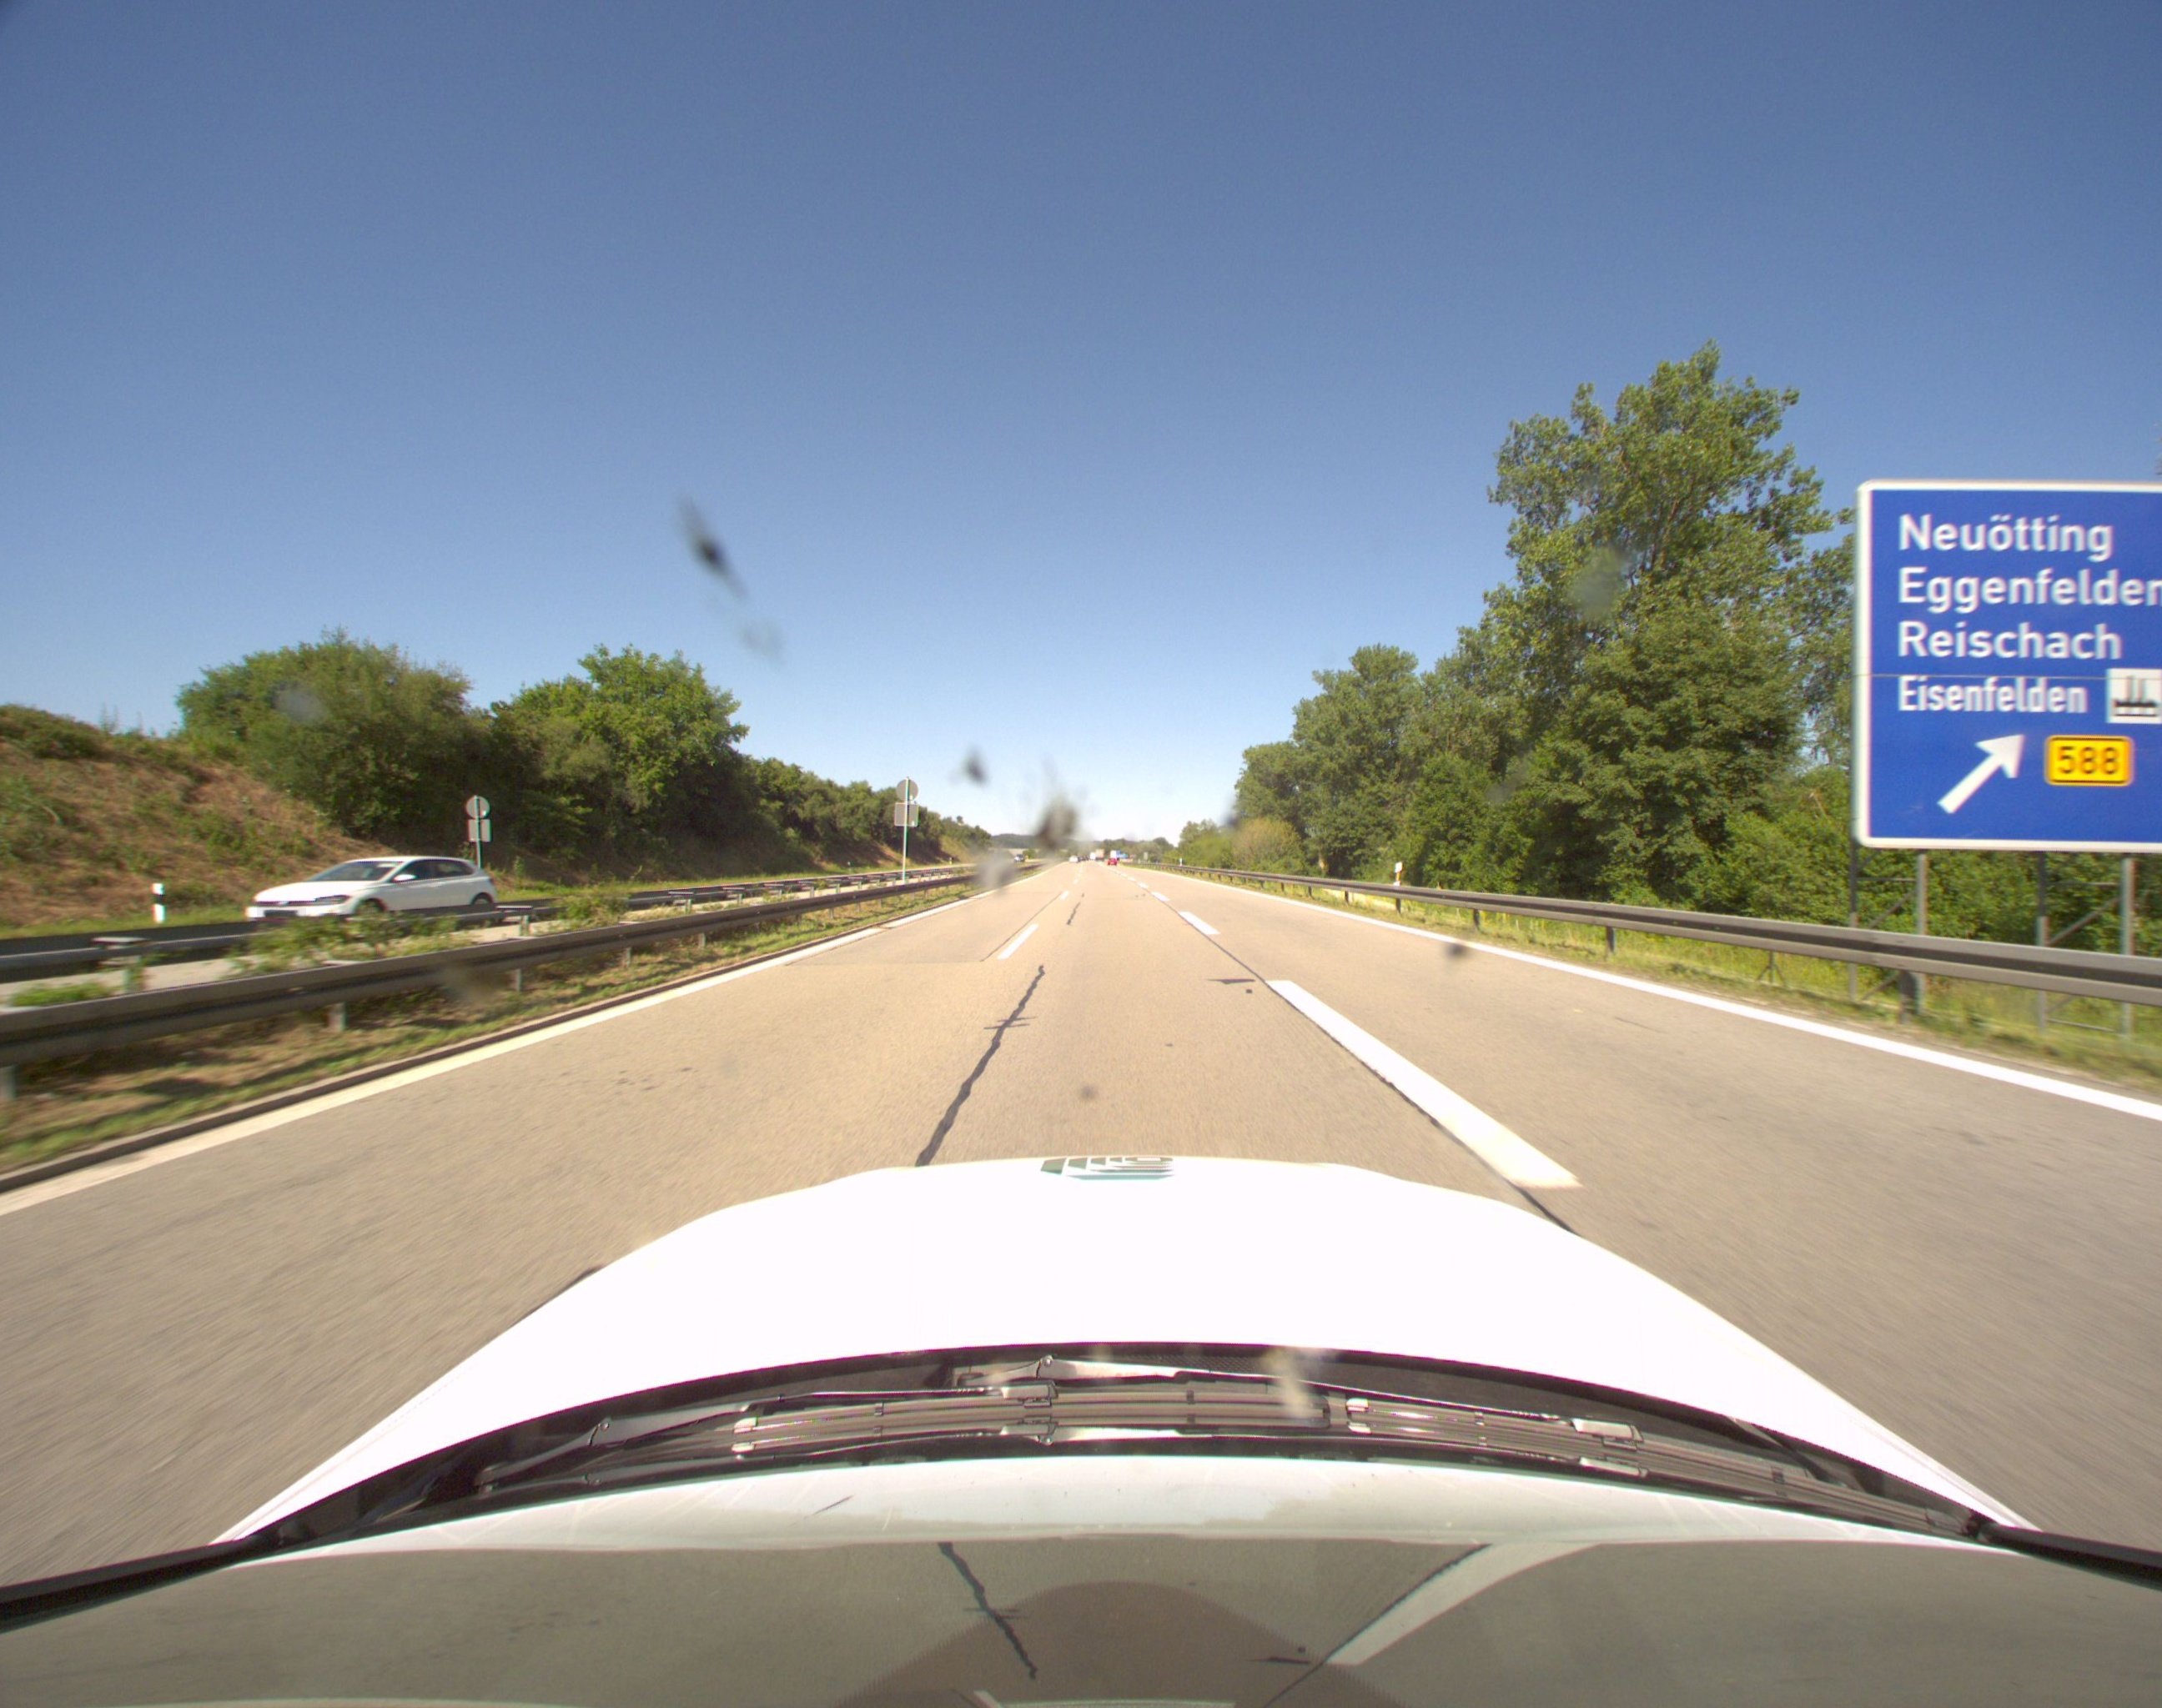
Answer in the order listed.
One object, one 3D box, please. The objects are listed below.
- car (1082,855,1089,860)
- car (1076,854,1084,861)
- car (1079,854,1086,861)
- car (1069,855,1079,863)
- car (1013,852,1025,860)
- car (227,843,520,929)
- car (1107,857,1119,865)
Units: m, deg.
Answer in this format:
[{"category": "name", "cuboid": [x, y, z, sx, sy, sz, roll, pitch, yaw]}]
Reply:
[{"category": "car", "cuboid": [1.443, 1.146, 261.937, 1.986, 1.750, 4.002, 1, 0, 2]}, {"category": "car", "cuboid": [-0.245, 0.793, 191.737, 1.987, 1.750, 4.000, 1, 0, 0]}, {"category": "car", "cuboid": [0.547, 0.954, 232.213, 1.987, 1.750, 4.000, 1, 0, 0]}, {"category": "car", "cuboid": [-1.441, 1.045, 175.264, 2.055, 1.625, 3.999, 0, -2, 0]}, {"category": "car", "cuboid": [-12.395, 0.386, 162.836, 1.987, 1.644, 5.083, 0, -1, 0]}, {"category": "car", "cuboid": [-13.496, 0.535, 15.993, 1.833, 1.439, 4.414, 0, 0, 1]}, {"category": "car", "cuboid": [6.191, 1.337, 155.329, 1.773, 1.431, 4.009, 4, -1, 9]}]
